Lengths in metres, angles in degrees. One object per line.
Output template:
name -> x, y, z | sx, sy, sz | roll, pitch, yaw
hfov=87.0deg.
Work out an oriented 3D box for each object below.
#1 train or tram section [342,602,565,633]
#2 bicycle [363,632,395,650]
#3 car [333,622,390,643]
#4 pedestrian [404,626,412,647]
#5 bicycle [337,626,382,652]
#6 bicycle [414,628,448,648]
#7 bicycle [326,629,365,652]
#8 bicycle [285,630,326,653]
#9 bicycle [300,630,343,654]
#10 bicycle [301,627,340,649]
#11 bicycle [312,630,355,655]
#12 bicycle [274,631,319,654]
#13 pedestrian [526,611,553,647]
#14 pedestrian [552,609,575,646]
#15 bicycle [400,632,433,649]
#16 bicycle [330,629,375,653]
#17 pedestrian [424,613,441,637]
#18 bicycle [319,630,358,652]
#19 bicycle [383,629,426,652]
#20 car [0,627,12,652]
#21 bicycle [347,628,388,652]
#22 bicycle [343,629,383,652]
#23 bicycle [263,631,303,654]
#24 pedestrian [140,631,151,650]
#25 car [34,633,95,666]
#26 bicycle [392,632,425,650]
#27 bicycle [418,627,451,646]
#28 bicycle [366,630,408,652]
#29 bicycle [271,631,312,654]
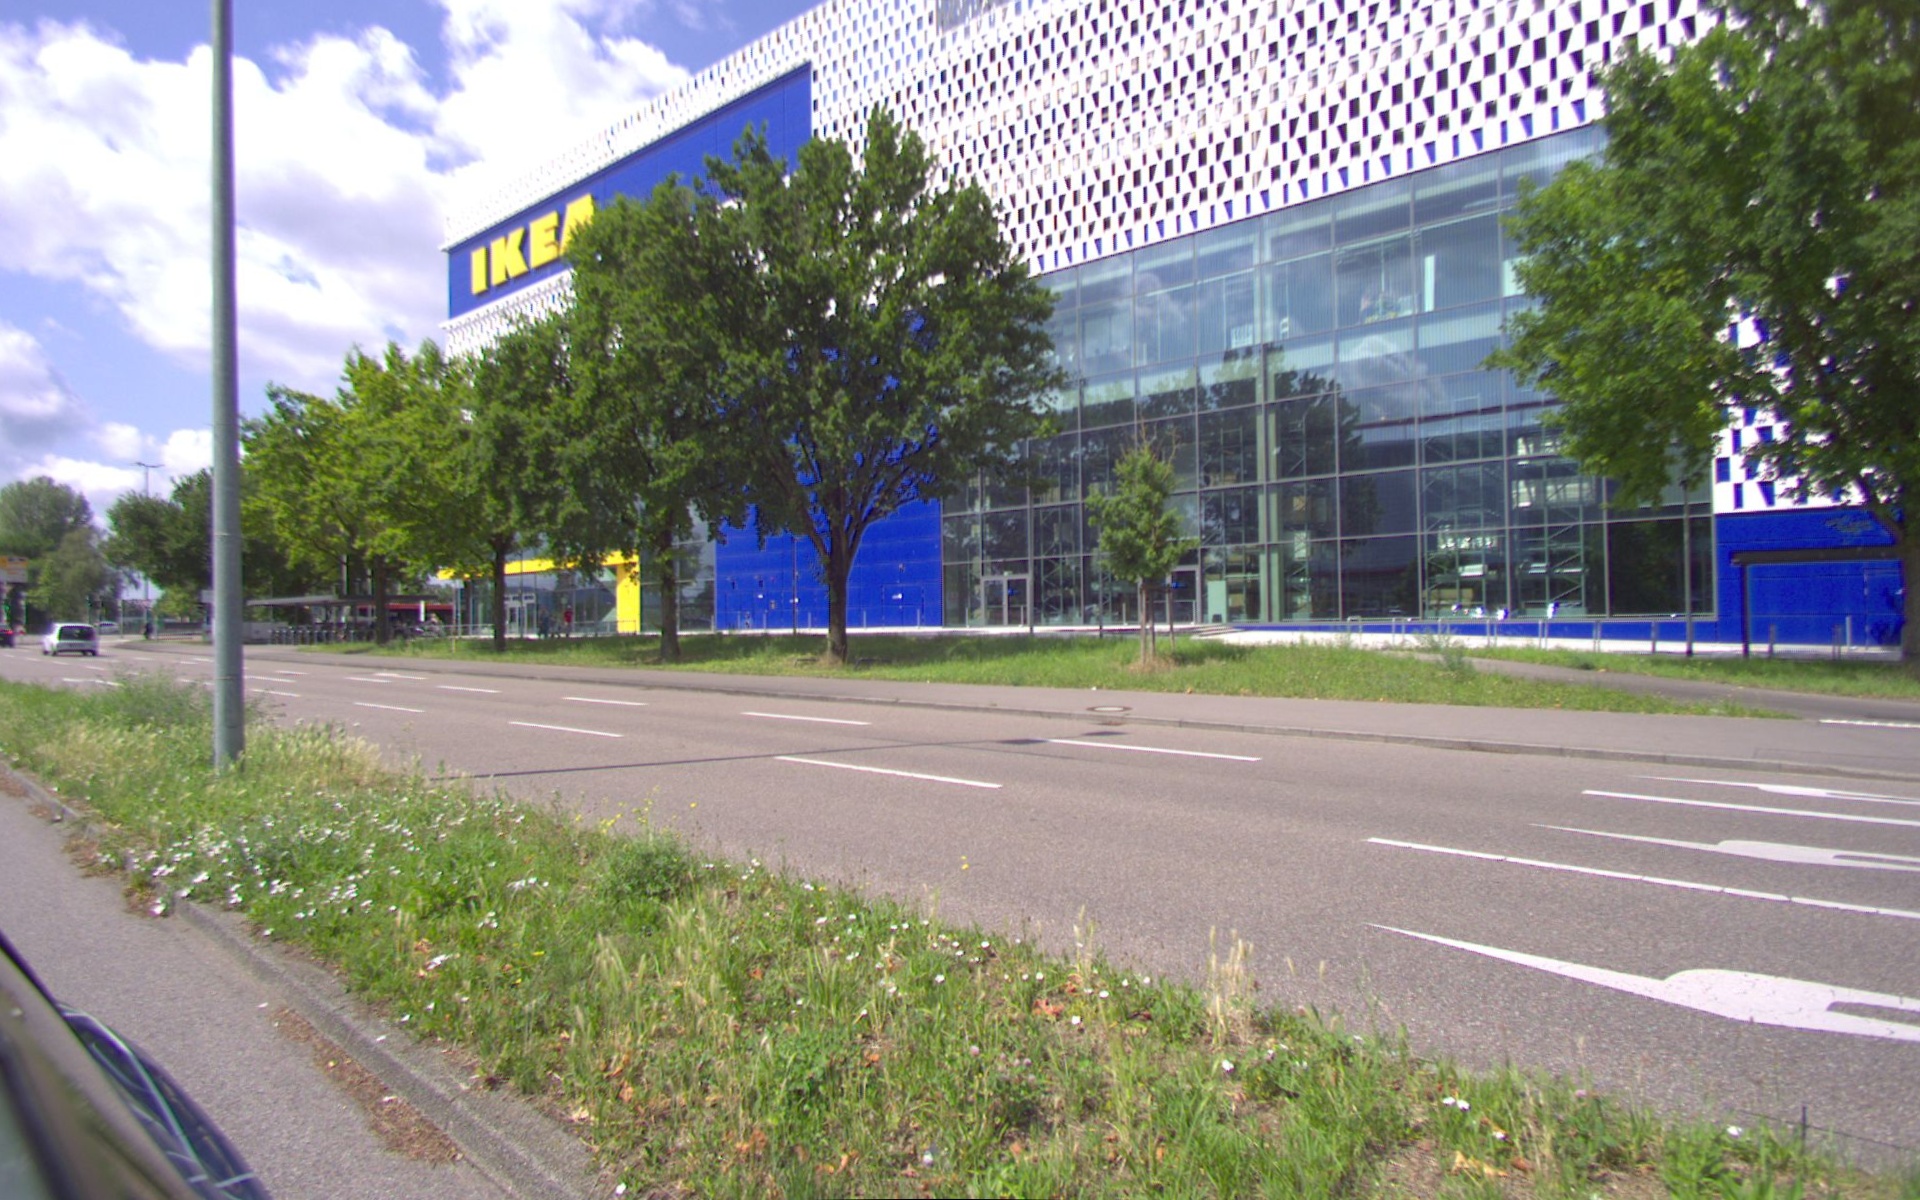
train or tram section -> -60.707, 2.309, 123.207 | 4.524, 3.055, 24.804 | -2, -3, 38
bicycle -> -40.181, 2.816, 70.008 | 0.467, 1.181, 1.938 | -3, -2, 35
car -> -62.498, 3.341, 105.727 | 1.996, 2.029, 4.763 | -3, -2, 36
pedestrian -> -46.163, 3.079, 84.599 | 0.515, 1.716, 0.405 | -3, -2, 34
bicycle -> -31.300, 2.039, 52.739 | 0.629, 1.282, 1.906 | -3, -2, 39
bicycle -> -34.449, 2.467, 65.959 | 0.596, 1.253, 1.927 | -1, -1, 35
bicycle -> -36.307, 2.375, 59.807 | 0.629, 1.282, 1.906 | -3, -2, 39
bicycle -> -37.610, 2.386, 58.186 | 0.629, 1.282, 1.906 | -3, -2, 39
bicycle -> -35.758, 2.370, 56.704 | 0.629, 1.282, 1.906 | -3, -2, 39
bicycle -> -39.173, 2.325, 62.039 | 0.629, 1.282, 1.906 | -3, -2, 39
bicycle -> -34.015, 2.299, 54.950 | 0.629, 1.282, 1.906 | -3, -2, 39
bicycle -> -38.634, 2.484, 58.961 | 0.629, 1.282, 2.068 | -3, -2, 39
pedestrian -> -20.816, 1.436, 50.129 | 0.886, 1.715, 0.940 | -2, -1, 40
pedestrian -> -20.153, 1.390, 51.450 | 0.886, 1.836, 0.746 | -2, -1, 40
bicycle -> -36.180, 2.689, 67.348 | 0.528, 1.078, 1.917 | -1, -1, 35
bicycle -> -32.096, 2.146, 53.487 | 0.629, 1.192, 1.906 | -3, -2, 39
pedestrian -> -37.206, 1.773, 71.417 | 0.710, 1.719, 0.887 | -1, -1, 39
bicycle -> -37.280, 2.458, 60.702 | 0.629, 1.282, 1.906 | -3, -2, 39
bicycle -> -29.910, 2.166, 54.527 | 0.629, 1.193, 1.906 | -3, -2, 39
car -> -56.575, 2.269, 58.719 | 4.514, 1.432, 1.647 | -1, -3, 40
bicycle -> -33.741, 2.265, 57.607 | 0.629, 1.282, 1.906 | -3, -2, 39
bicycle -> -34.423, 2.319, 58.362 | 0.629, 1.282, 1.906 | -3, -2, 39
bicycle -> -40.447, 2.520, 60.463 | 0.629, 1.282, 1.906 | -3, -2, 39
pedestrian -> -64.452, 3.174, 80.064 | 0.616, 1.502, 0.435 | -1, -1, 23
car -> -40.856, 2.219, 46.146 | 3.669, 1.440, 1.626 | -2, -3, 41
bicycle -> -37.032, 2.748, 68.013 | 0.519, 1.098, 1.912 | -3, -2, 36
bicycle -> -34.687, 2.387, 66.817 | 0.528, 1.219, 1.917 | -1, -1, 35
bicycle -> -31.591, 2.253, 55.843 | 0.629, 1.188, 1.906 | -3, -2, 39
bicycle -> -39.392, 2.518, 59.625 | 0.629, 1.282, 1.906 | -3, -2, 39
